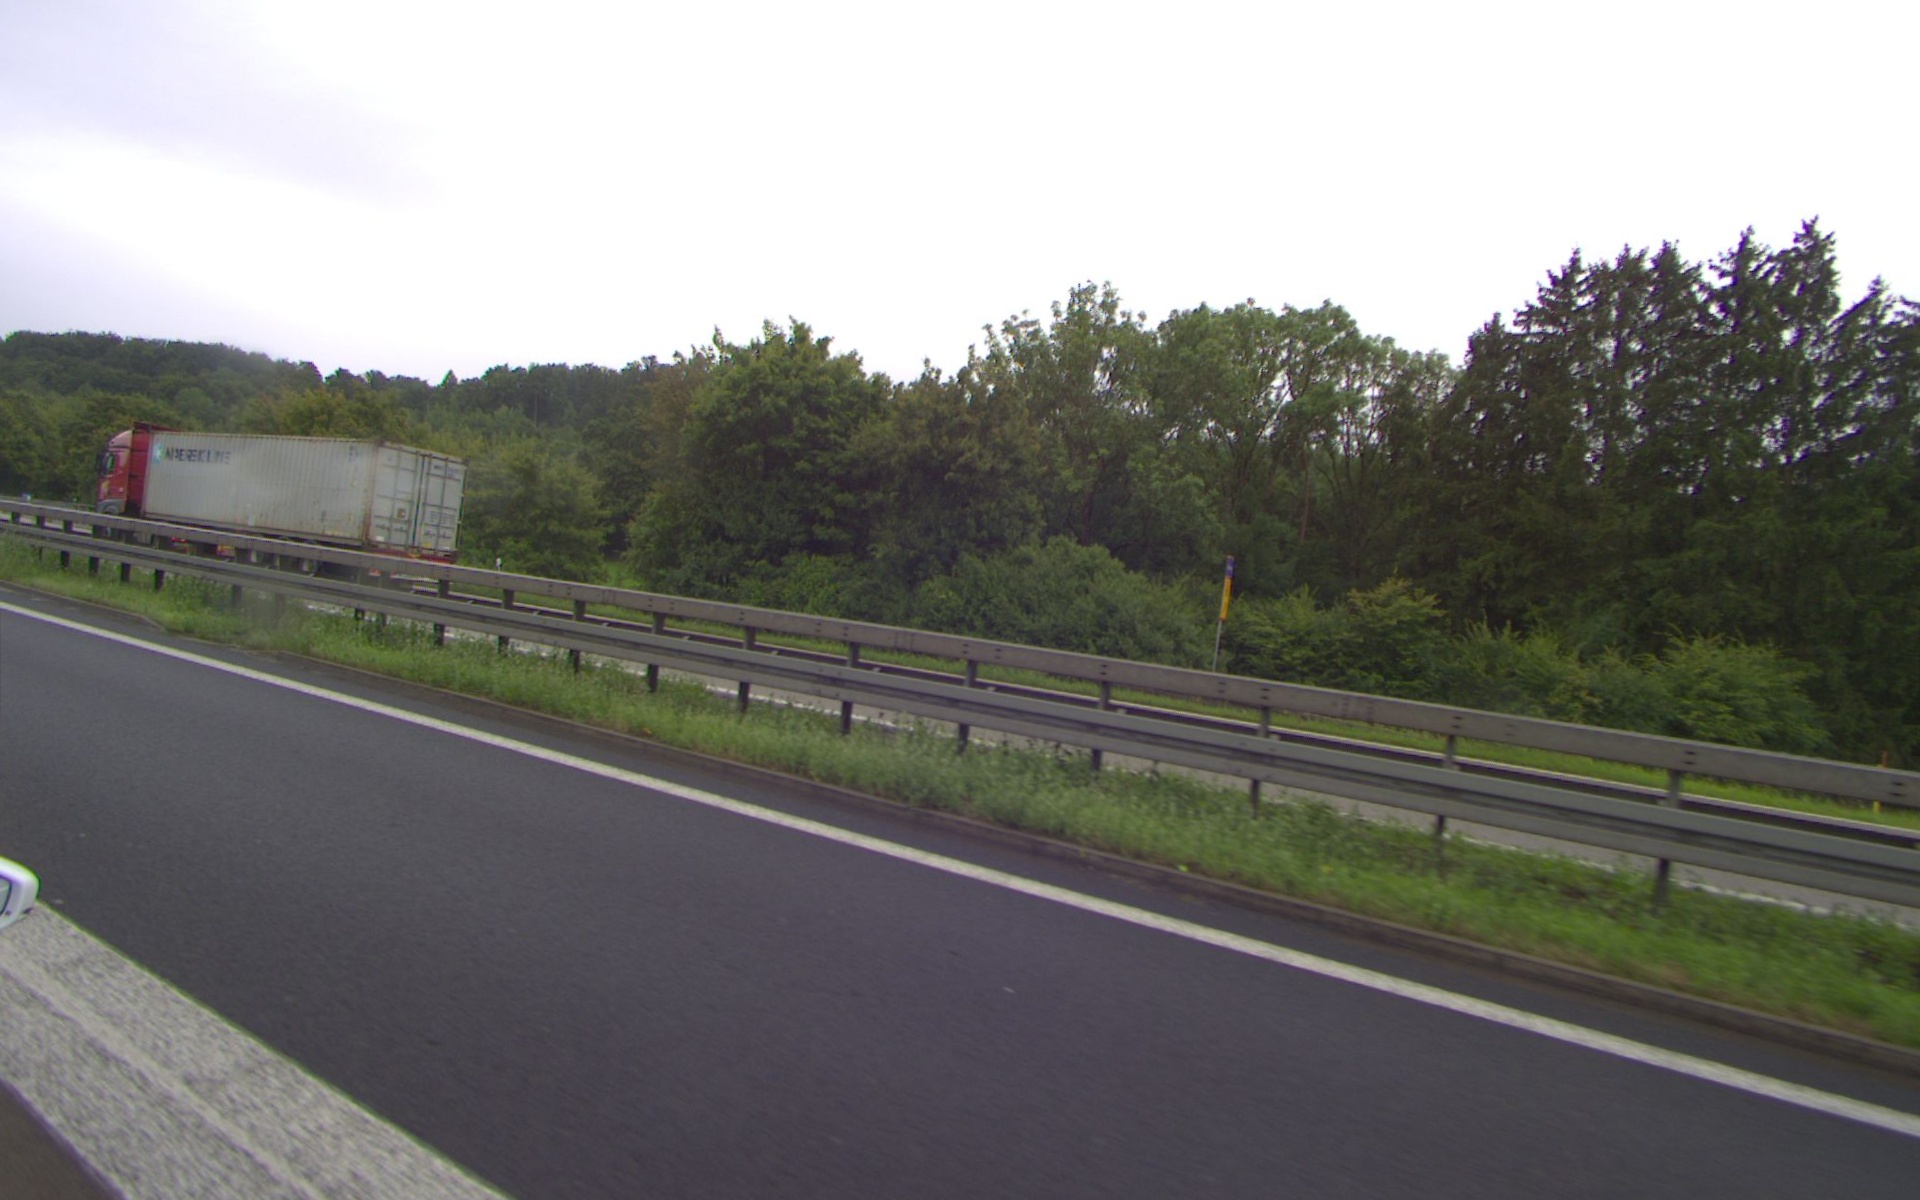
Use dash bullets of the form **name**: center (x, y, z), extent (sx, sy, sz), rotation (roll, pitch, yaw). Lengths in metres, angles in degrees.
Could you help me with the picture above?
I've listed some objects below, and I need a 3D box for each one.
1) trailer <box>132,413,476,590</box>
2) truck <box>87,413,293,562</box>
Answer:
- **trailer**: center (-18.712, -2.926, 28.158), extent (12.280, 3.941, 2.609), rotation (7, -1, 31)
- **truck**: center (-24.013, -3.528, 31.306), extent (6.284, 3.931, 2.621), rotation (7, -1, 31)
